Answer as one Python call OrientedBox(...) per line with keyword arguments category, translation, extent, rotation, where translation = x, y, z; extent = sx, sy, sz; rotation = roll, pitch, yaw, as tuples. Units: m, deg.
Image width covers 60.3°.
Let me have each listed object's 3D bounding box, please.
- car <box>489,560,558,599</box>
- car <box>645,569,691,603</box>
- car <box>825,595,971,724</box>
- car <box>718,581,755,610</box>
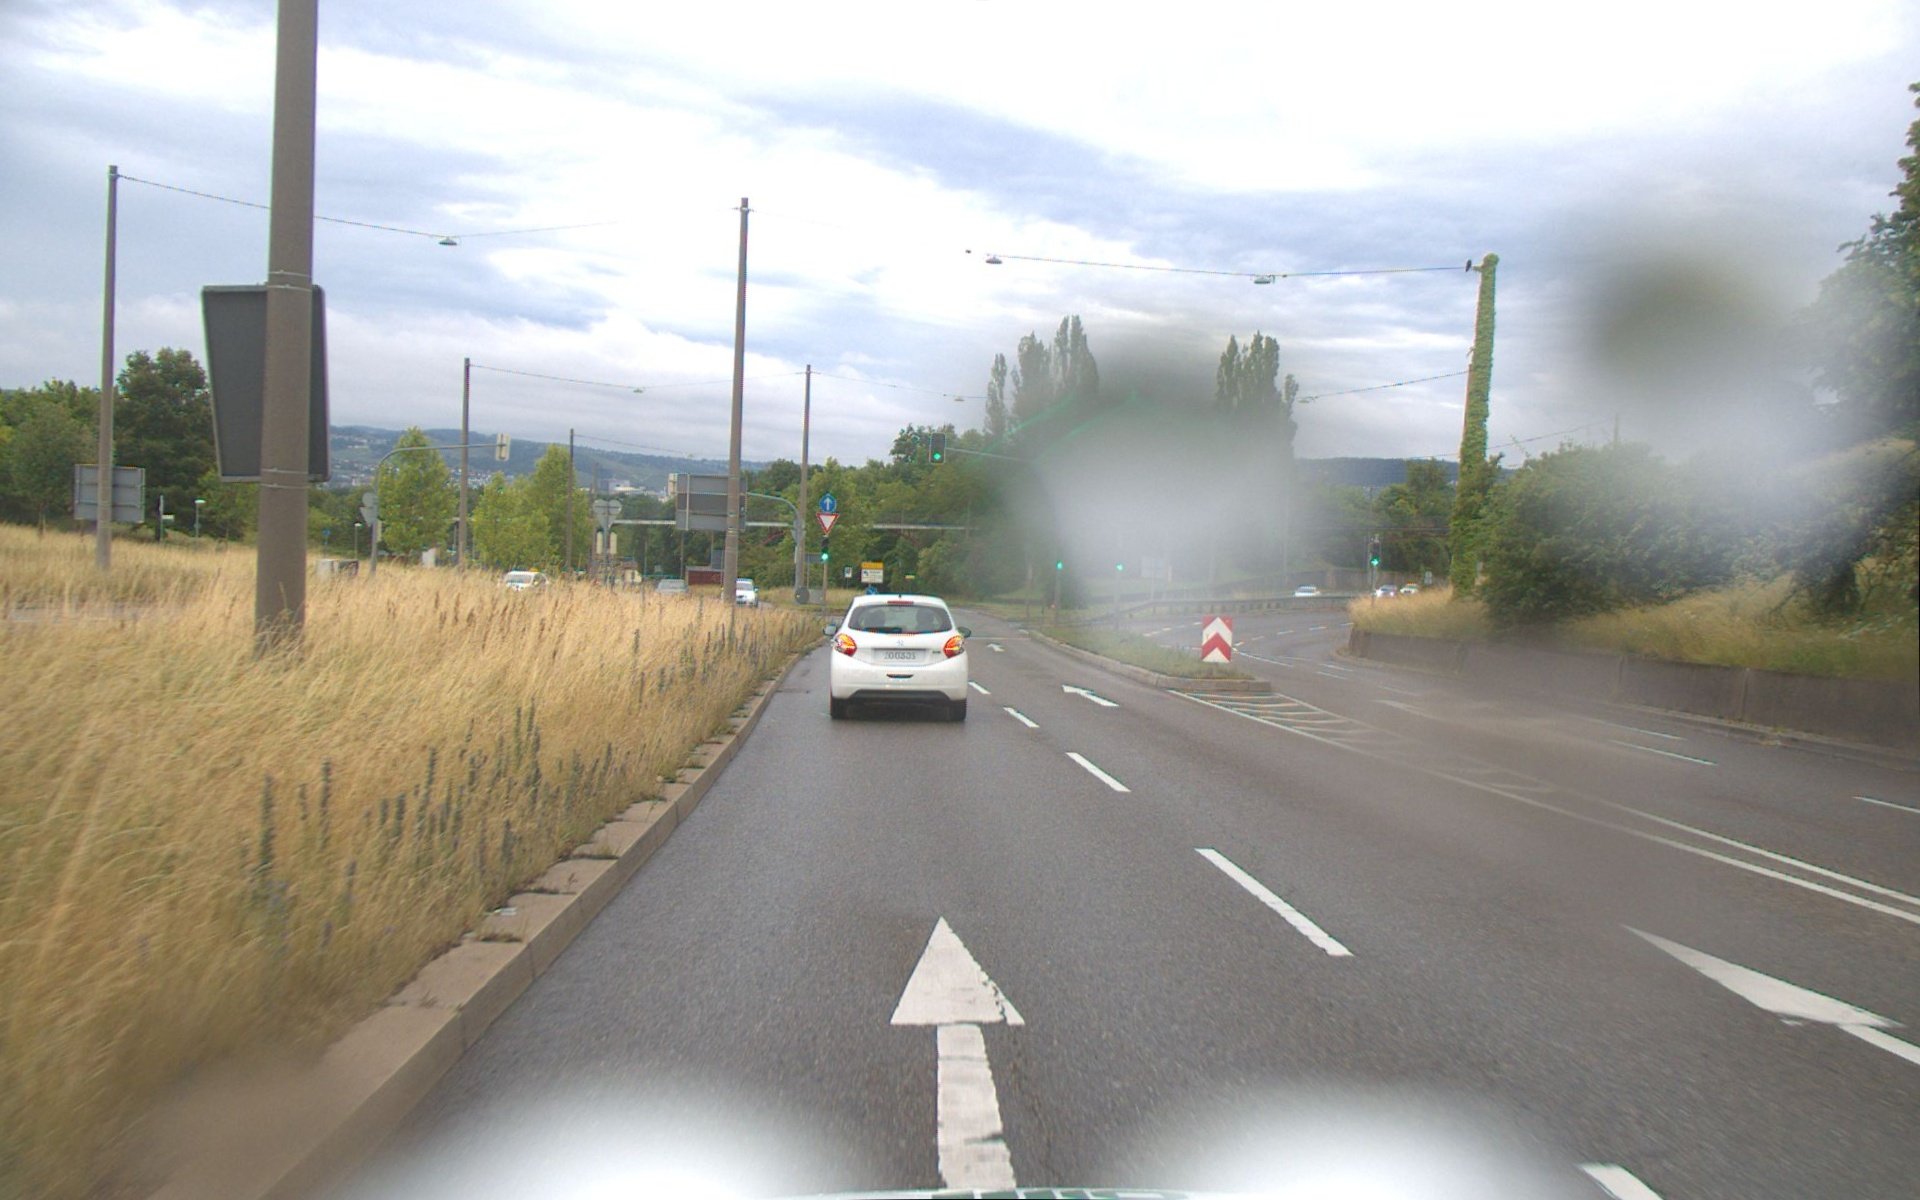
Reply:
OrientedBox(category="car", translation=(-20.246, -0.918, 76.843), extent=(1.847, 1.639, 4.676), rotation=(3, -1, 1))
OrientedBox(category="car", translation=(-14.632, -0.681, 83.146), extent=(1.858, 1.564, 3.996), rotation=(2, -1, -5))
OrientedBox(category="car", translation=(-0.722, 0.698, 20.924), extent=(1.673, 1.465, 3.690), rotation=(1, 0, 0))
OrientedBox(category="car", translation=(-11.540, -0.220, 85.693), extent=(1.704, 1.397, 3.995), rotation=(2, -1, -5))
